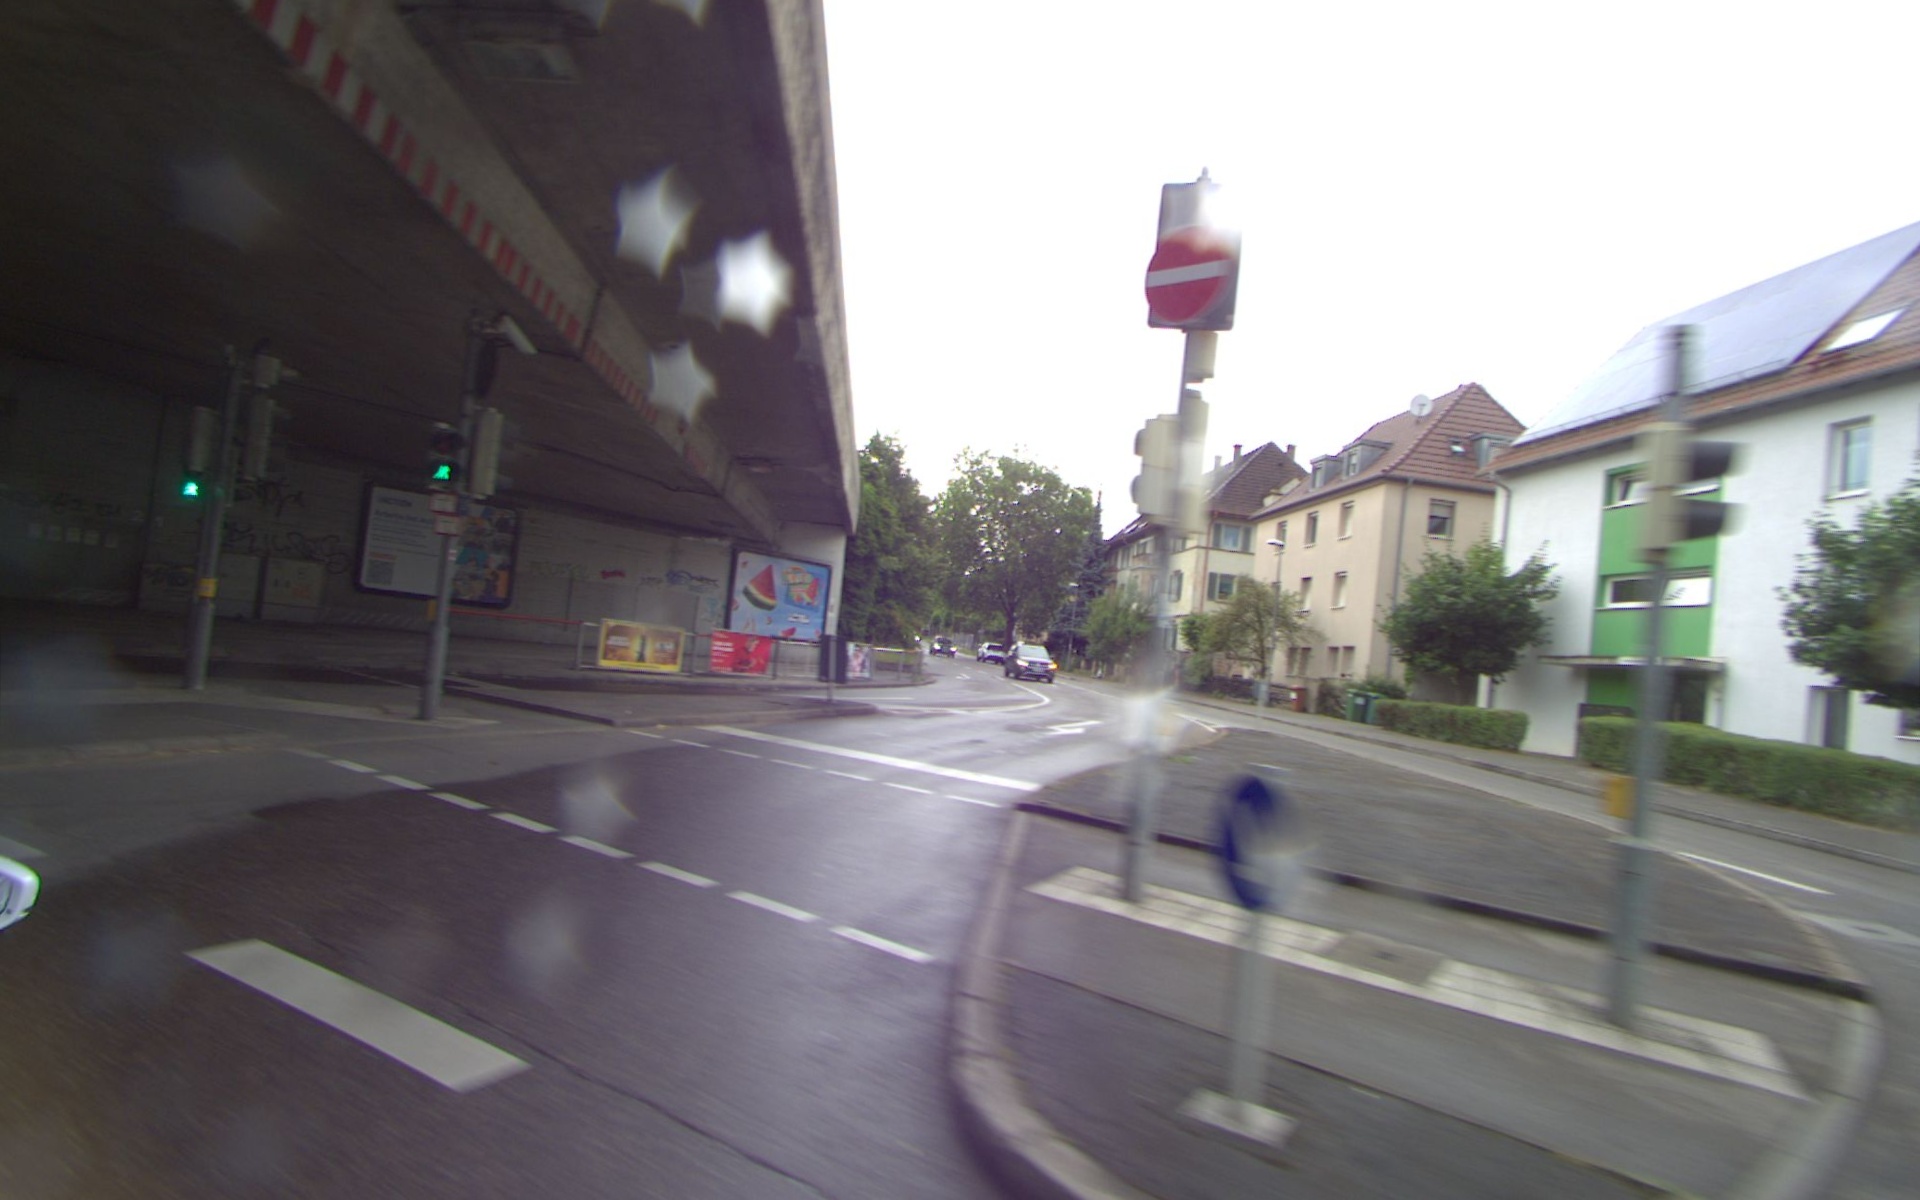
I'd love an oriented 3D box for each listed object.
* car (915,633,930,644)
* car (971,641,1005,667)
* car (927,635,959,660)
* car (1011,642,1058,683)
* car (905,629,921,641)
[{"bbox_3d":[-6.555,6.615,174.156,1.850,1.548,3.994,8,-1,-10],"label":"car"},{"bbox_3d":[2.152,4.148,77.902,1.850,1.547,3.996,9,-1,-7],"label":"car"},{"bbox_3d":[-1.399,3.798,80.543,1.850,1.548,3.994,8,-1,-10],"label":"car"},{"bbox_3d":[3.397,2.792,45.174,1.735,1.598,4.239,5,-2,8],"label":"car"},{"bbox_3d":[-7.387,5.484,157.103,1.850,1.548,3.994,8,-1,-10],"label":"car"}]
